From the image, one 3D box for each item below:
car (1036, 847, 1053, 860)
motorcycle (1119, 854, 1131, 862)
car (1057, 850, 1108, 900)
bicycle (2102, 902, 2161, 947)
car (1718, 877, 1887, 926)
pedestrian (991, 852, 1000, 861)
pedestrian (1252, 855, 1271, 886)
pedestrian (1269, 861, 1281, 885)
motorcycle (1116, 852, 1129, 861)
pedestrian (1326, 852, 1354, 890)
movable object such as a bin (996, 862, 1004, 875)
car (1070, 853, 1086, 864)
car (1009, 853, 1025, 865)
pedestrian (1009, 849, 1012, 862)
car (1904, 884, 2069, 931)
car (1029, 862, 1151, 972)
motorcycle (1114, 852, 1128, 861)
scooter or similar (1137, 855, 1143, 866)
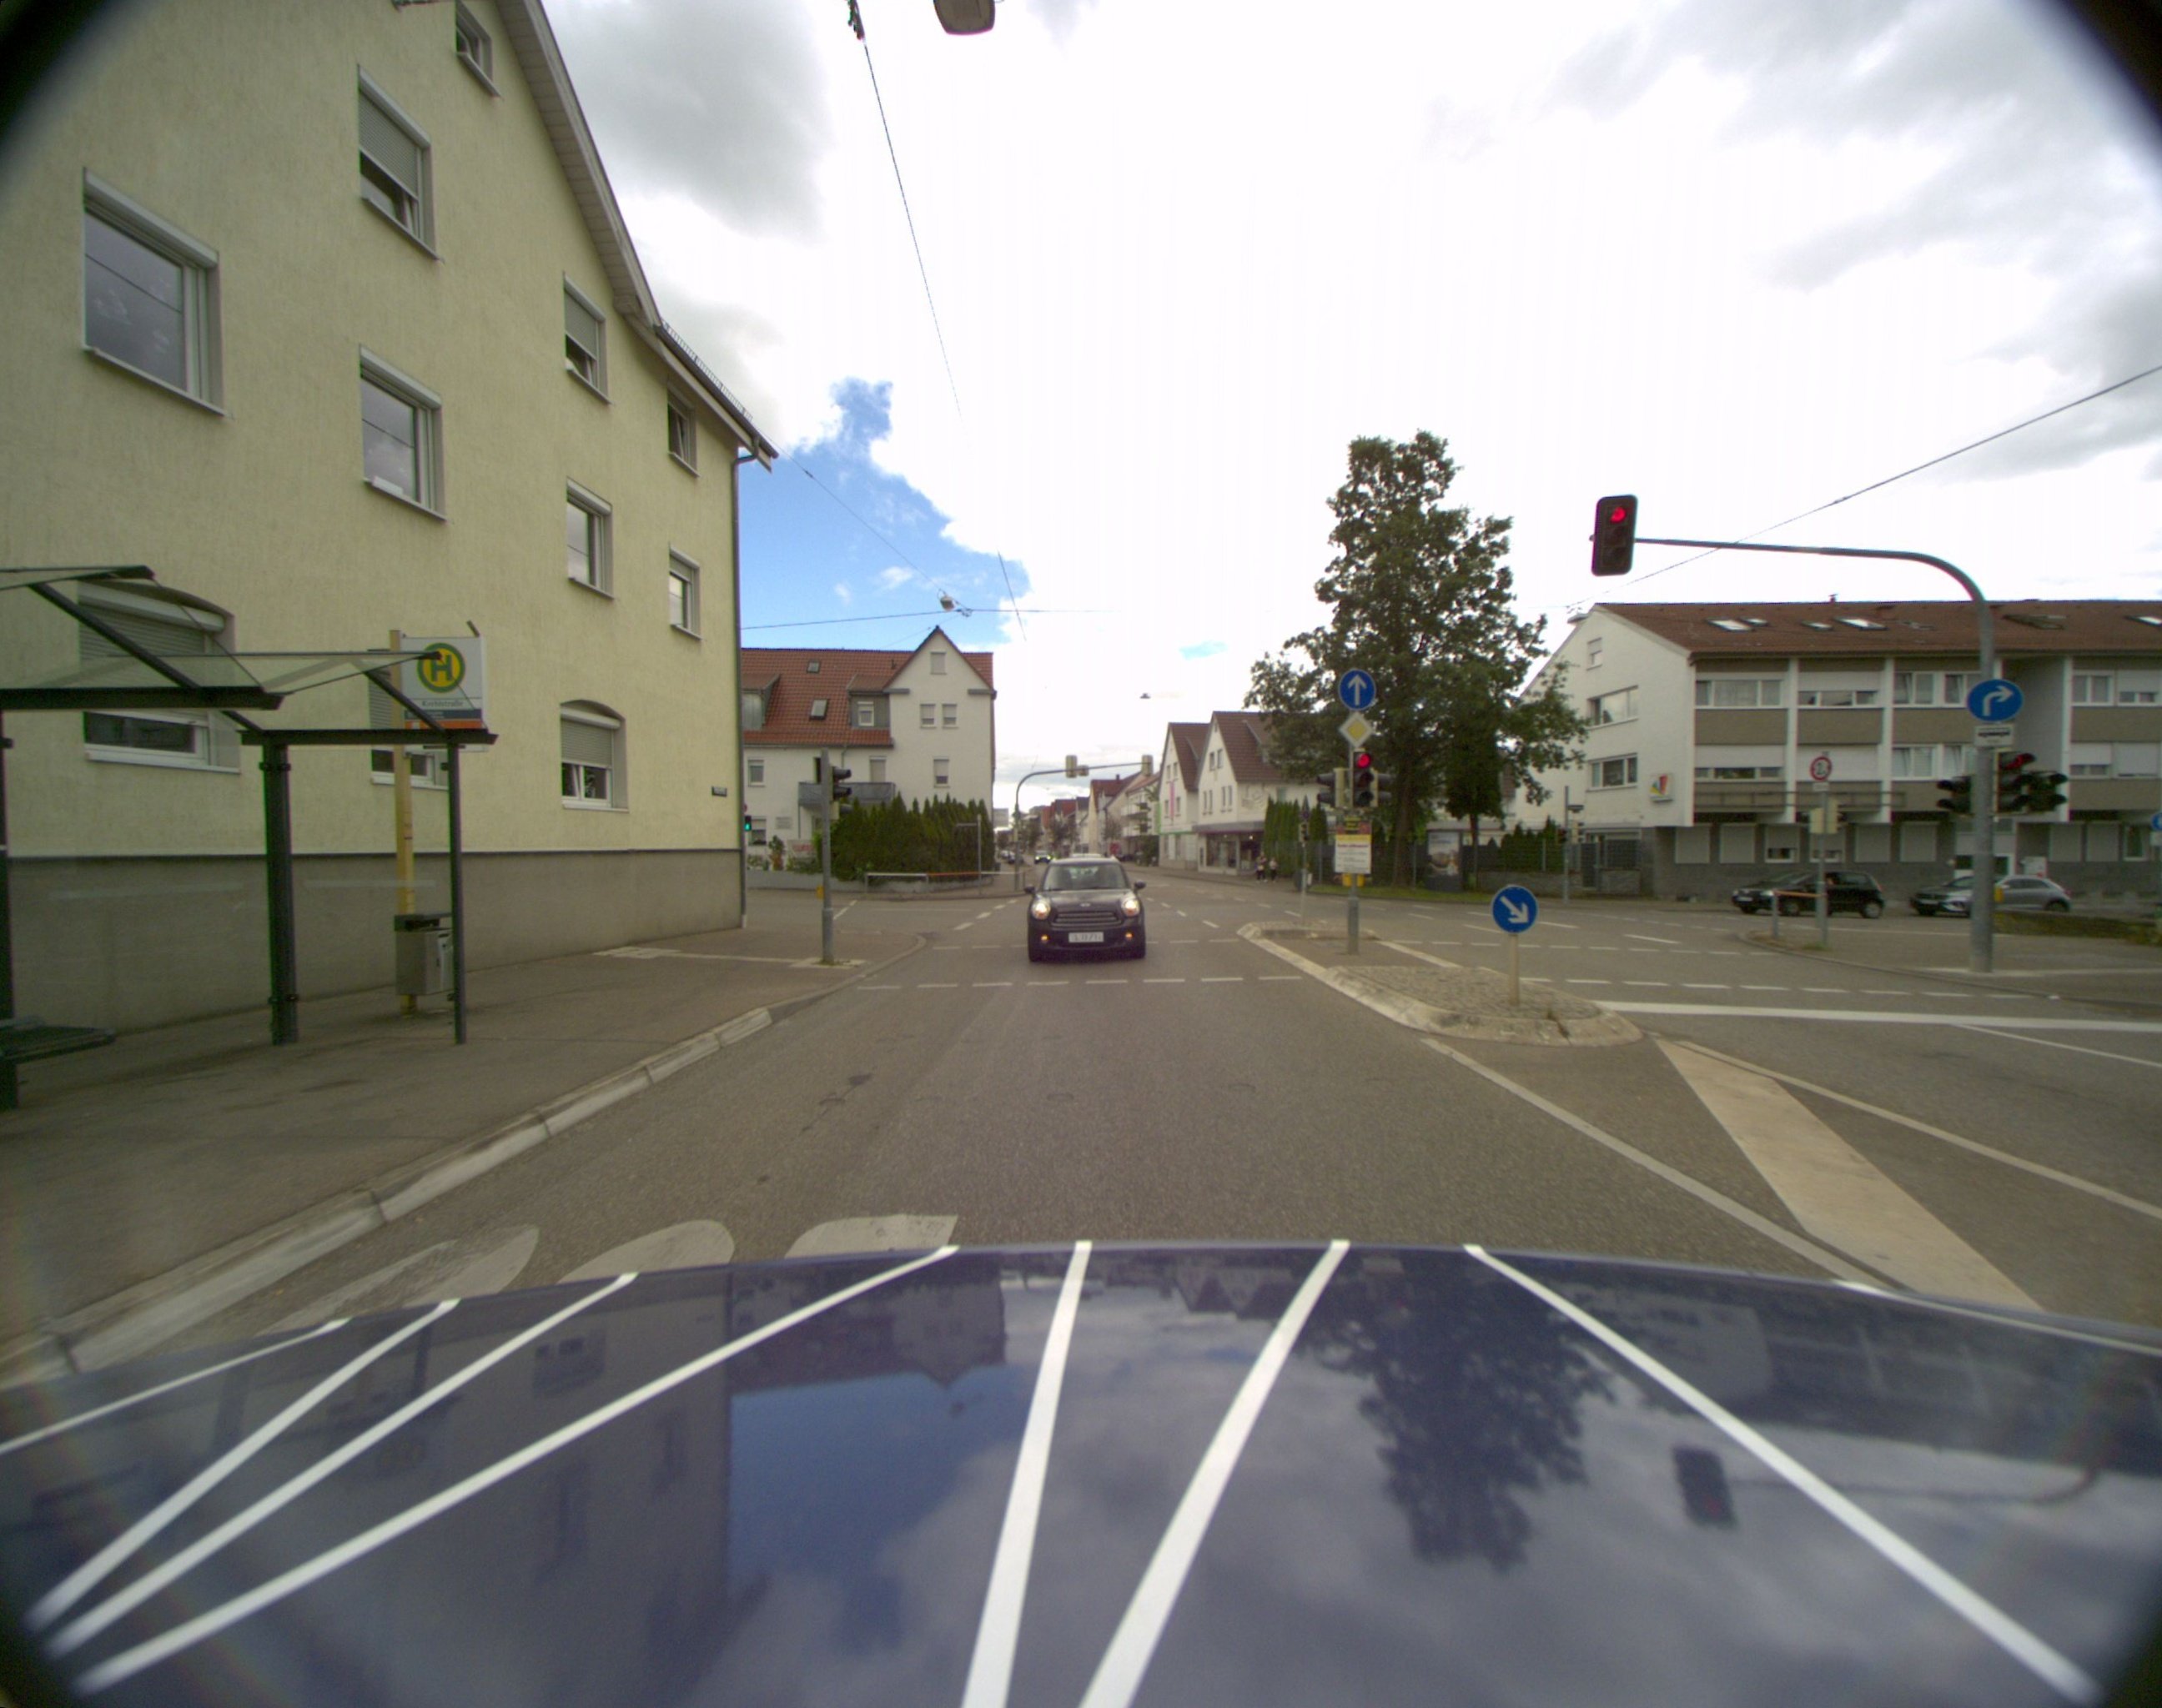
[{"bbox_3d":[-4.694,-0.050,96.961,1.847,1.510,3.997,-2,1,-6],"label":"car"},{"bbox_3d":[5.685,0.503,98.480,1.430,1.017,0.525,-2,1,-6],"label":"motorcycle"},{"bbox_3d":[-0.016,0.742,29.552,1.811,1.556,4.615,-1,2,-2],"label":"car"},{"bbox_3d":[23.563,1.566,16.946,1.319,0.937,0.425,3,1,-13],"label":"bicycle"},{"bbox_3d":[22.988,1.488,24.315,3.642,1.390,1.772,1,0,2],"label":"car"},{"bbox_3d":[-11.668,0.376,103.786,0.982,1.272,0.667,0,1,6],"label":"pedestrian"},{"bbox_3d":[9.608,0.865,40.420,0.642,1.596,0.865,-2,1,-16],"label":"pedestrian"},{"bbox_3d":[10.296,0.993,40.345,0.383,1.254,0.549,-2,2,-16],"label":"pedestrian"},{"bbox_3d":[5.522,0.363,100.992,1.679,1.099,0.558,-2,1,-6],"label":"motorcycle"},{"bbox_3d":[12.263,0.782,35.976,0.824,1.744,1.229,-2,1,-5],"label":"pedestrian"},{"bbox_3d":[-5.574,1.001,52.378,0.566,0.898,0.519,1,1,-5],"label":"movable object such as a bin"},{"bbox_3d":[-0.435,0.641,109.058,1.635,1.404,3.996,1,0,-9],"label":"car"},{"bbox_3d":[-8.457,0.662,100.552,1.847,1.510,3.996,-2,1,-8],"label":"car"},{"bbox_3d":[-9.697,0.195,104.465,0.497,1.744,0.451,0,1,-5],"label":"pedestrian"},{"bbox_3d":[31.956,1.865,26.901,3.642,1.390,1.757,2,0,2],"label":"car"},{"bbox_3d":[0.073,0.911,12.709,1.694,1.506,3.999,-1,0,-2],"label":"car"},{"bbox_3d":[5.296,0.382,100.186,1.835,1.099,0.505,-2,1,-6],"label":"motorcycle"},{"bbox_3d":[6.295,0.724,80.886,0.465,1.117,1.829,-1,0,9],"label":"scooter or similar"}]
